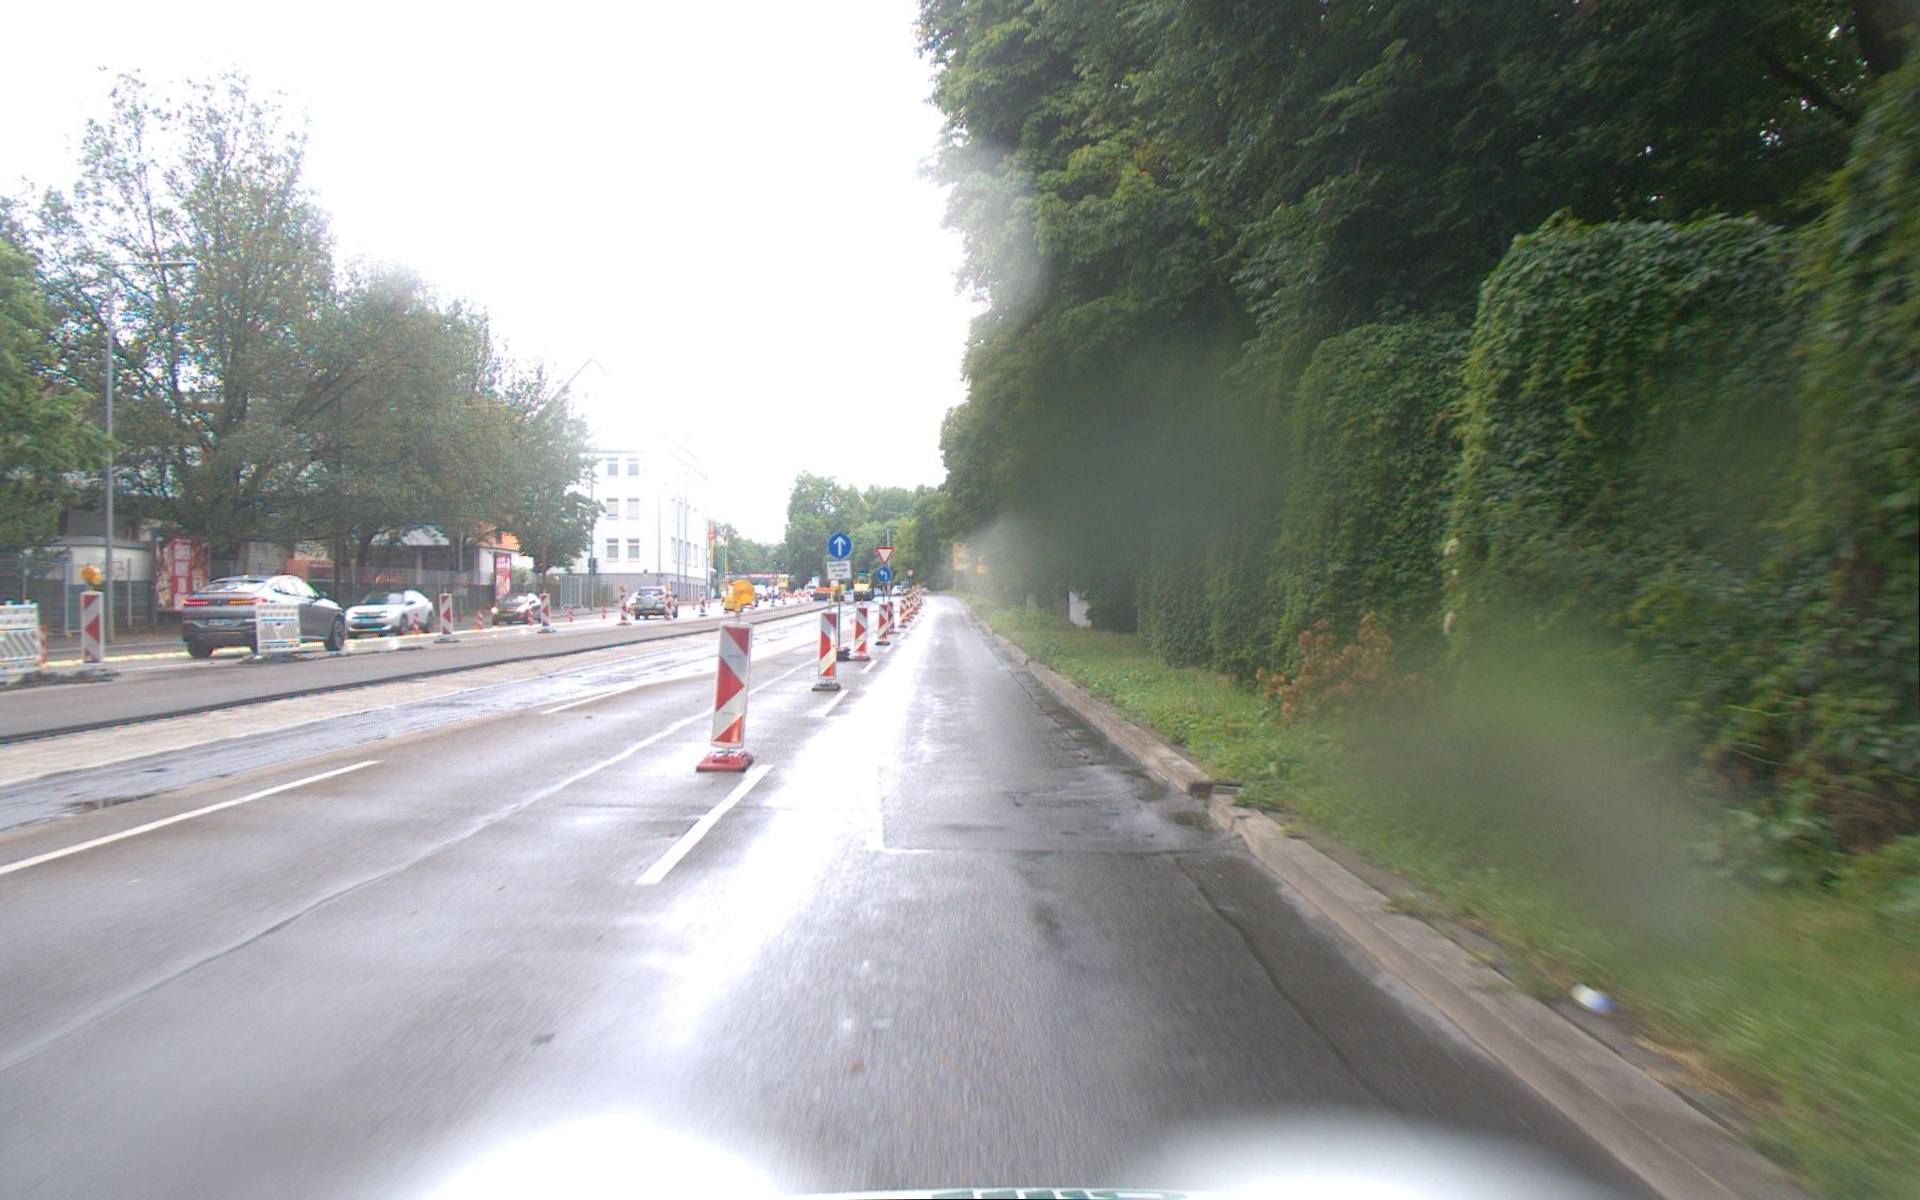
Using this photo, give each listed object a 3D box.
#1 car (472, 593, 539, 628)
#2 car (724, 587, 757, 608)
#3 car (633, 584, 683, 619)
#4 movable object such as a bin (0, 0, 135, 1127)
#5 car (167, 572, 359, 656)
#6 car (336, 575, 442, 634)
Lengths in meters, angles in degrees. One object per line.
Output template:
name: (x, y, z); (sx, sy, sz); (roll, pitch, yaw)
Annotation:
car: (-21.659, 0.505, 78.963); (1.953, 1.614, 4.618); (0, 0, 0)
car: (-16.025, -0.171, 120.979); (1.953, 1.545, 3.999); (1, 0, -1)
car: (-15.333, 0.074, 84.038); (1.817, 1.677, 3.999); (1, 0, -1)
movable object such as a bin: (-3.575, -0.286, 2.184); (1.953, 3.426, 5.981); (1, 0, 0)
car: (-14.840, 0.290, 35.563); (2.034, 1.641, 5.055); (1, 0, -1)
car: (-18.384, 0.137, 53.455); (1.953, 1.797, 4.278); (1, 0, 0)
